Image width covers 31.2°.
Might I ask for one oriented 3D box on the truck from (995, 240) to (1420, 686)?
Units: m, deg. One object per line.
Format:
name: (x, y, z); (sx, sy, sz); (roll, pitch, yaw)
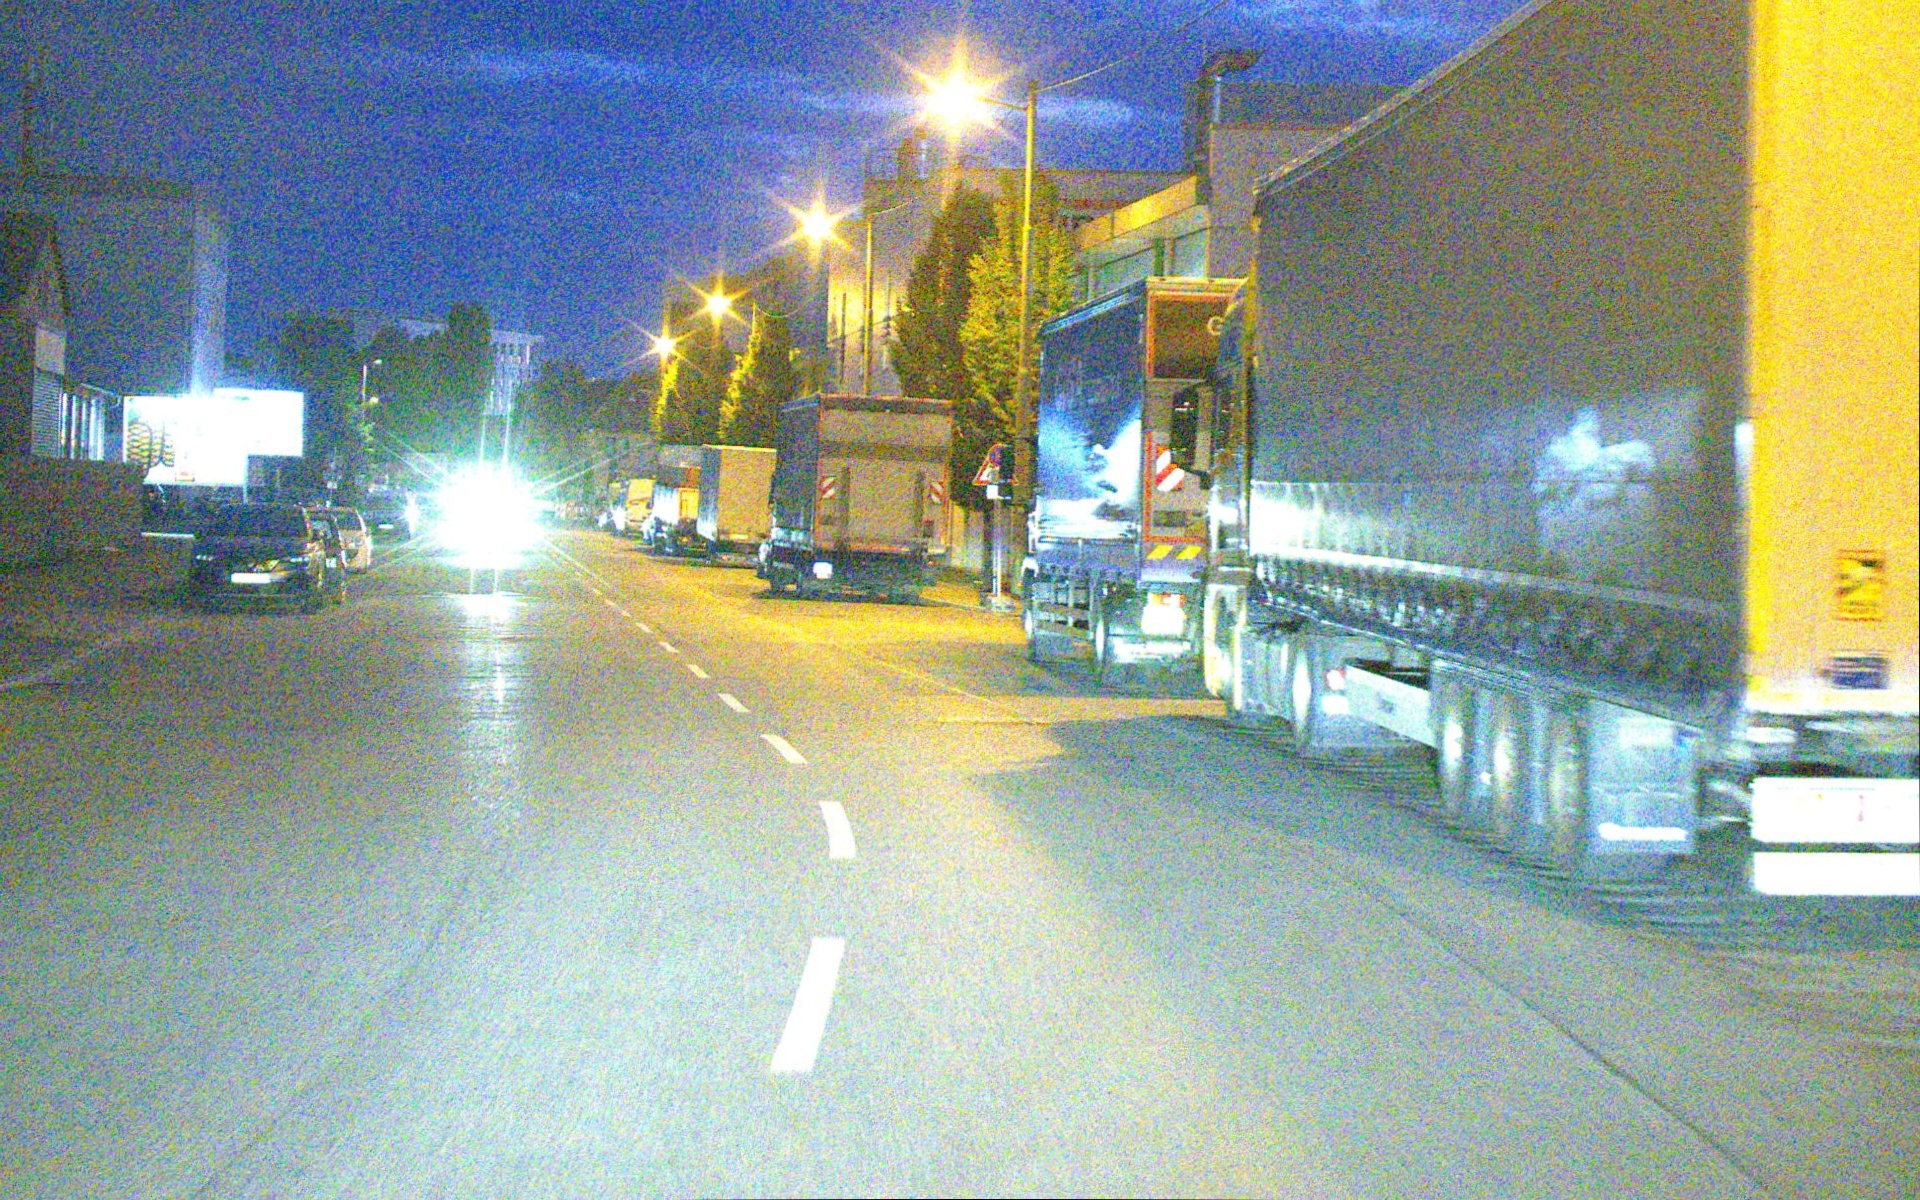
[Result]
truck: (2.287, -1.331, 36.115); (2.829, 3.969, 10.344); (1, 1, -5)

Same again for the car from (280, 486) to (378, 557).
car: (-13.598, -1.706, 74.217); (1.841, 1.415, 4.001); (2, 1, -8)

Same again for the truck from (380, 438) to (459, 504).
truck: (-31.862, -7.590, 202.416); (3.889, 3.609, 8.263); (2, 1, -13)

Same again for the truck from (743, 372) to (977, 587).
truck: (-2.182, -2.361, 69.471); (3.520, 3.969, 10.345); (1, 1, -8)

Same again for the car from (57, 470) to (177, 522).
car: (-29.881, -3.691, 121.958); (3.986, 1.645, 2.001); (2, 1, -10)

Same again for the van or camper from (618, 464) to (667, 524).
van or camper: (-14.277, -4.768, 154.329); (1.993, 2.572, 4.916); (2, 1, -7)

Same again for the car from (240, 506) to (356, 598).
car: (-10.663, -0.798, 55.567); (1.601, 1.349, 4.001); (2, 2, -8)

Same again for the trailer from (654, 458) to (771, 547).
trailer: (-8.274, -3.184, 113.730); (3.183, 2.739, 10.718); (1, 1, -8)

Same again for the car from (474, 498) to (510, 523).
car: (-26.955, -5.165, 198.118); (1.993, 1.393, 4.001); (2, 1, -8)

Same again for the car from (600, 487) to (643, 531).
car: (-17.193, -4.611, 174.541); (1.993, 2.138, 4.001); (2, 1, -8)

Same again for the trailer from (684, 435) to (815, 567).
trailer: (-6.039, -2.778, 97.352); (2.686, 3.452, 7.812); (2, 1, -10)

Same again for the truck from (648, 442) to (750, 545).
truck: (-9.223, -3.699, 120.801); (3.150, 3.451, 6.675); (1, 1, -8)

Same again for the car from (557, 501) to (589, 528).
car: (-25.259, -5.568, 224.293); (1.993, 1.678, 4.001); (2, 1, -8)

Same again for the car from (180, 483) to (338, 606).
car: (-10.220, -0.829, 50.401); (1.993, 1.631, 4.775); (3, 1, -9)

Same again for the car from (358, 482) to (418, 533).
car: (-20.947, -3.394, 125.971); (1.993, 1.787, 4.001); (2, 1, -8)

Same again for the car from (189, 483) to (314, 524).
car: (-29.190, -3.988, 141.691); (4.613, 1.480, 2.000); (2, 2, -30)

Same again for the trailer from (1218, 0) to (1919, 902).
trailer: (3.741, -1.035, 19.266); (2.808, 3.969, 13.976); (1, 1, -3)

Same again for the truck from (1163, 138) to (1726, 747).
truck: (3.380, -1.086, 25.676); (2.829, 3.969, 6.051); (1, 1, -5)
